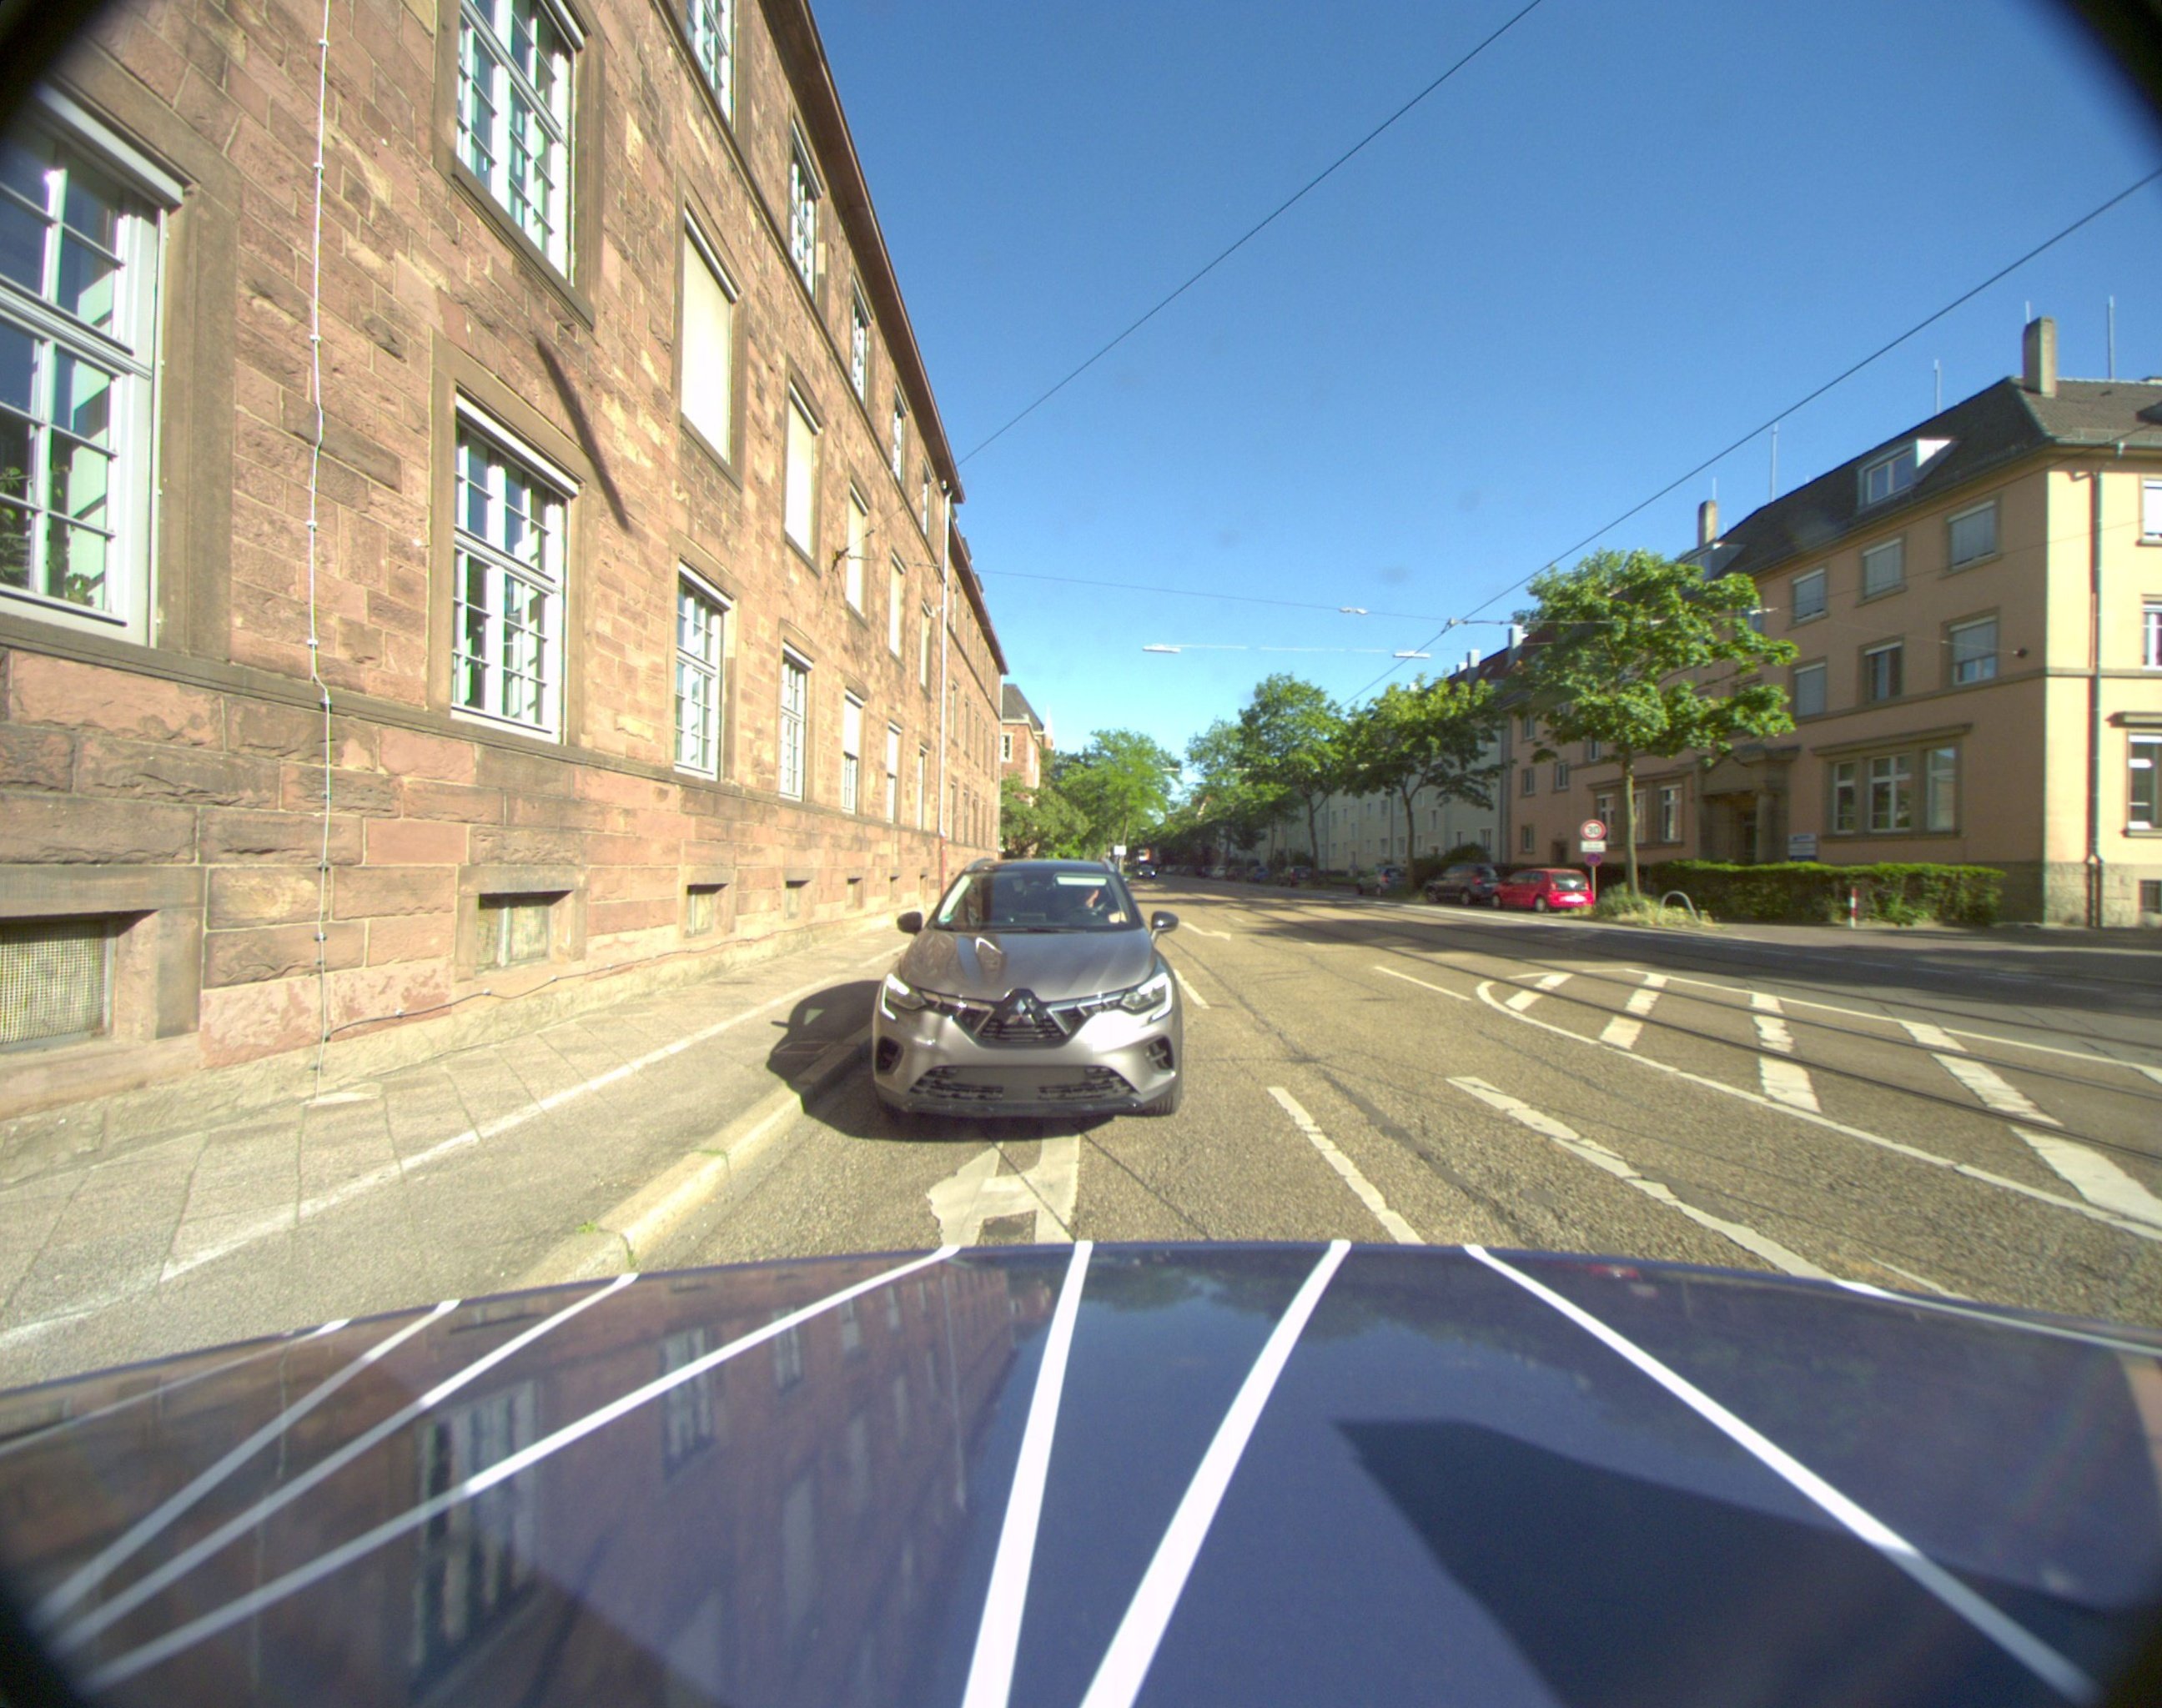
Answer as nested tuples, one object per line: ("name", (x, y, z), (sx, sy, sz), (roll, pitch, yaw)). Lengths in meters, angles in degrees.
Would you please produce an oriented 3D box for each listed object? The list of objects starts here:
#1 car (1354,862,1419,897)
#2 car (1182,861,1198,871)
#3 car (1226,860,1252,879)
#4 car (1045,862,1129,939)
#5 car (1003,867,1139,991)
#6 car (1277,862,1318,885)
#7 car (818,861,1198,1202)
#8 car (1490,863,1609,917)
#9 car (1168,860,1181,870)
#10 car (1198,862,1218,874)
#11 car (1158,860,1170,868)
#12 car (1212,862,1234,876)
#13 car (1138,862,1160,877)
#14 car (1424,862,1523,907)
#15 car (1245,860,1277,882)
("car", (15.732, 1.276, 39.342), (1.816, 1.648, 3.877), (1, 0, 1))
("car", (16.038, 1.751, 111.794), (1.816, 1.411, 3.630), (1, 0, -2))
("car", (15.901, 1.536, 76.557), (1.816, 1.929, 3.630), (1, 0, -2))
("car", (0.072, 1.018, 18.476), (1.796, 1.638, 4.083), (0, 0, -2))
("car", (-0.181, 1.035, 12.028), (1.796, 1.595, 3.799), (0, 0, -2))
("car", (15.791, 1.434, 55.586), (1.816, 1.589, 3.630), (1, 0, -2))
("car", (-0.390, 0.856, 5.525), (1.796, 1.595, 3.799), (0, 0, -2))
("car", (15.854, 1.171, 25.924), (1.816, 1.696, 3.374), (1, 0, -3))
("car", (16.589, 1.950, 135.223), (1.816, 1.768, 3.630), (1, 0, -2))
("car", (15.845, 1.764, 94.842), (1.816, 1.411, 3.630), (1, 0, -2))
("car", (15.978, 1.860, 146.861), (1.816, 1.514, 3.630), (1, 0, -2))
("car", (16.030, 1.675, 85.915), (1.816, 1.411, 3.630), (1, 0, -2))
("car", (7.233, 1.619, 81.185), (1.912, 1.510, 4.000), (1, 0, -1))
("car", (15.644, 1.175, 30.532), (1.816, 1.648, 3.819), (1, 0, -3))
("car", (15.972, 1.479, 67.479), (1.816, 1.814, 3.795), (1, 0, -2))
